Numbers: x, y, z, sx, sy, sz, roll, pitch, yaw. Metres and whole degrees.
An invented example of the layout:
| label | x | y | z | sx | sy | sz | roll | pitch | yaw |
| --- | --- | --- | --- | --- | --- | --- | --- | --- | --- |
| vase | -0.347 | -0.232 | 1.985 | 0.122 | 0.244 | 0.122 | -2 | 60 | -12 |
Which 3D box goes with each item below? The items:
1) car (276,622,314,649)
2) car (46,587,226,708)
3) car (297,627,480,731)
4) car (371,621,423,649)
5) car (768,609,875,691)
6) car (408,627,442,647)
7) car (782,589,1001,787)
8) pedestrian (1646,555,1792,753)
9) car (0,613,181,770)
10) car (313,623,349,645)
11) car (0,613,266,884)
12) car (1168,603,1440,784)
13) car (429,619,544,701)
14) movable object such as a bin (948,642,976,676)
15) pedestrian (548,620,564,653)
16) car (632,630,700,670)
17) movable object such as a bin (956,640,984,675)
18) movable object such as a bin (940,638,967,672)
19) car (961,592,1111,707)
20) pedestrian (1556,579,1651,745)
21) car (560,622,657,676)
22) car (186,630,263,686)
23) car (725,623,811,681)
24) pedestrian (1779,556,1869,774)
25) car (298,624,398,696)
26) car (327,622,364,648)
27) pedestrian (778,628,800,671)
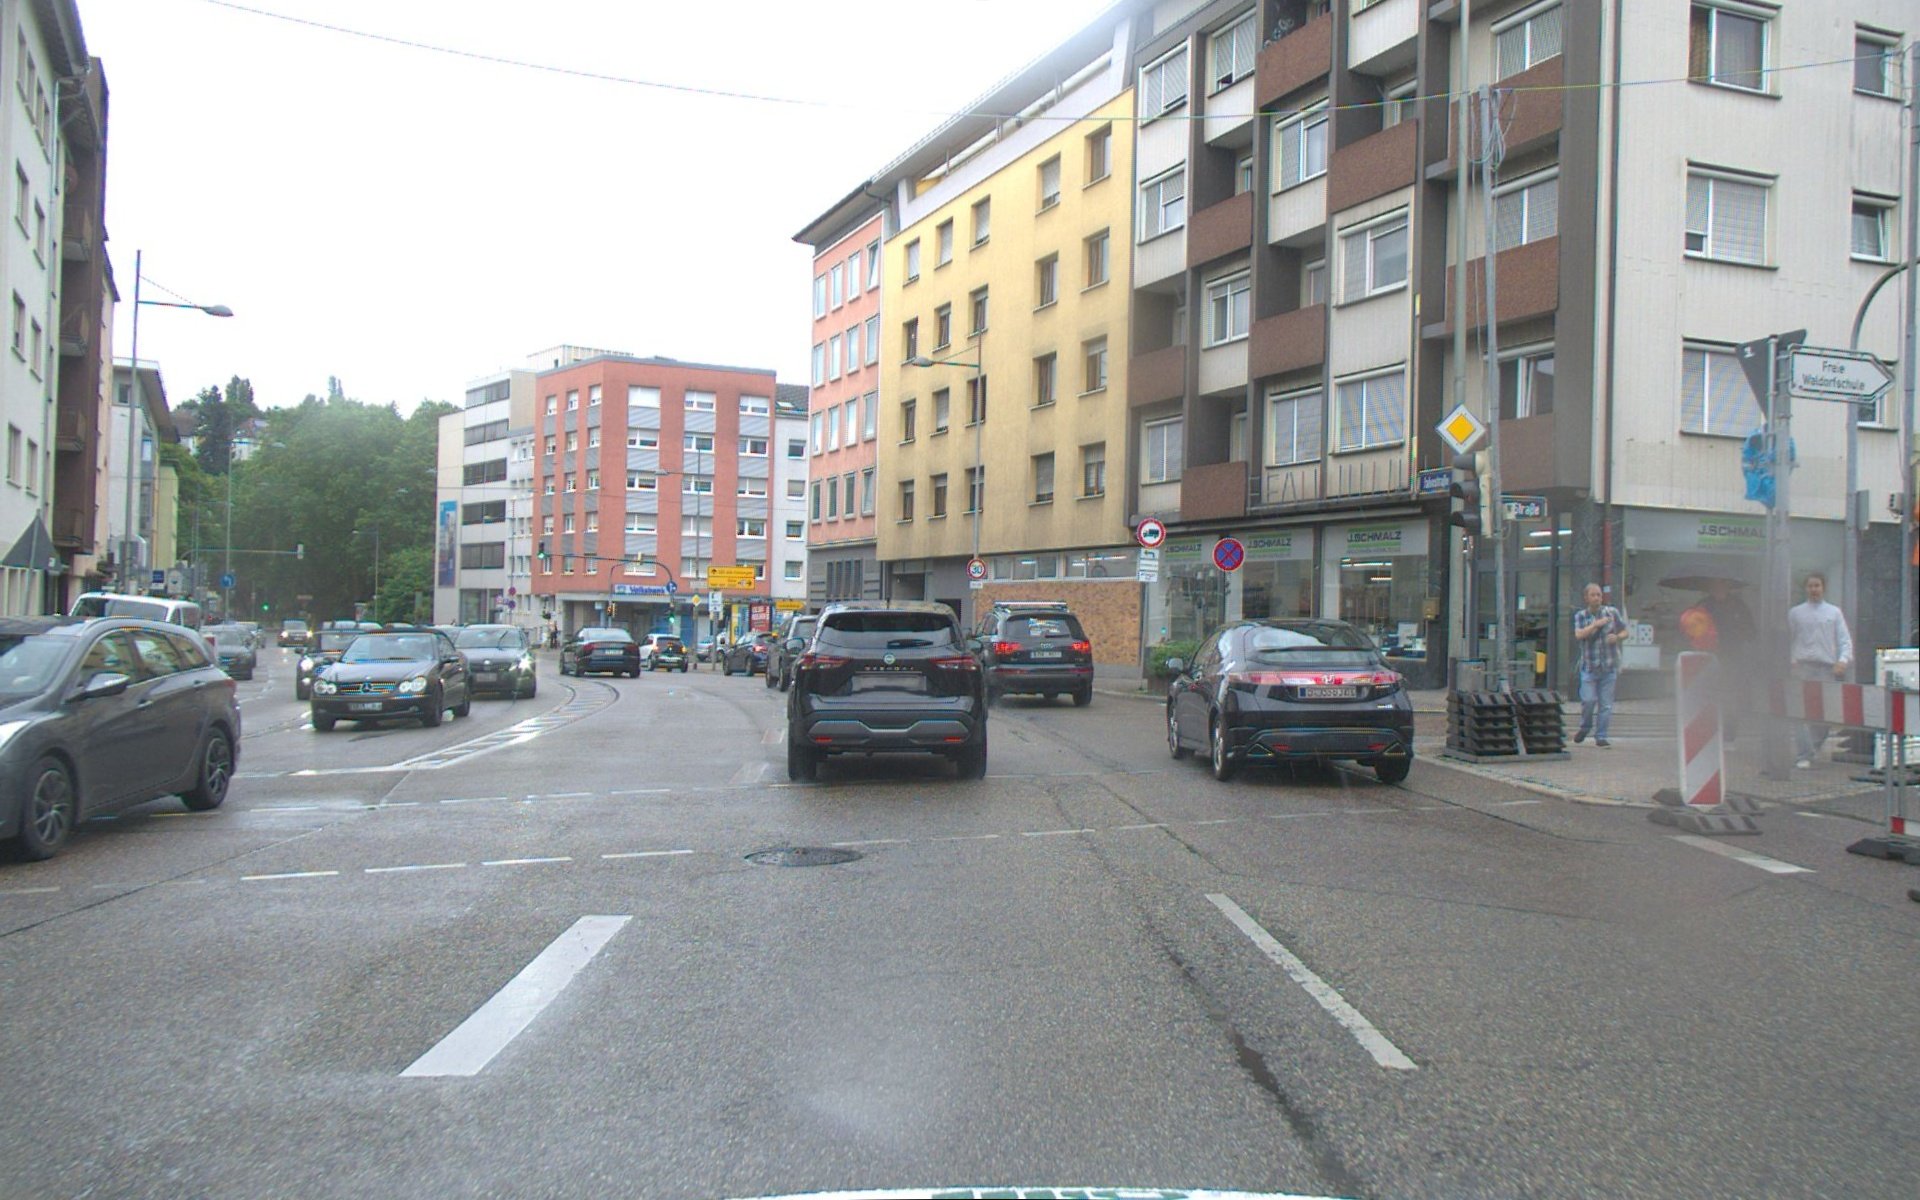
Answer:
| label | x | y | z | sx | sy | sz | roll | pitch | yaw |
| --- | --- | --- | --- | --- | --- | --- | --- | --- | --- |
| car | -42.743 | 2.303 | 106.246 | 1.841 | 1.676 | 4.214 | 0 | -1 | -28 |
| car | -15.763 | 0.949 | 31.941 | 2.084 | 2.050 | 5.105 | 4 | -3 | -16 |
| car | -8.415 | 1.122 | 24.734 | 1.791 | 1.390 | 4.593 | -1 | -1 | -9 |
| car | -32.574 | 2.027 | 95.630 | 1.840 | 1.580 | 4.175 | 1 | -2 | -34 |
| car | -3.177 | 1.095 | 37.311 | 1.911 | 1.714 | 3.988 | -1 | -1 | -12 |
| car | -41.863 | 2.911 | 129.480 | 1.697 | 1.467 | 4.039 | -1 | 0 | -30 |
| car | -0.745 | 0.761 | 15.970 | 1.857 | 1.657 | 3.995 | 0 | -1 | -5 |
| pedestrian | 7.552 | 0.543 | 16.462 | 0.912 | 1.894 | 1.015 | 2 | -4 | -44 |
| car | -10.314 | 0.934 | 17.924 | 1.891 | 1.500 | 4.598 | -2 | -1 | -6 |
| car | -43.391 | 2.342 | 114.071 | 1.800 | 1.459 | 4.358 | 1 | -2 | -28 |
| car | -6.394 | 0.854 | 11.138 | 1.816 | 1.500 | 4.643 | 0 | -1 | -5 |
| car | 3.180 | 0.827 | 16.074 | 1.747 | 1.523 | 4.055 | 1 | -1 | -1 |
| car | -9.447 | 1.163 | 33.273 | 1.949 | 1.485 | 4.470 | -1 | -1 | -13 |
| movable object such as a bin | 0.057 | 1.892 | 52.939 | 0.672 | 1.096 | 0.663 | 1 | -2 | -24 |
| pedestrian | -27.237 | 2.458 | 111.447 | 0.815 | 2.196 | 0.763 | 3 | -2 | -26 |
| car | -12.524 | 2.100 | 70.237 | 1.967 | 1.512 | 3.971 | 3 | -2 | -23 |
| movable object such as a bin | 0.325 | 1.830 | 52.320 | 0.672 | 1.096 | 0.663 | 1 | -2 | -24 |
| movable object such as a bin | -0.215 | 1.778 | 53.566 | 0.672 | 1.096 | 0.663 | 1 | -2 | -24 |
| car | 1.291 | 0.873 | 30.392 | 1.982 | 1.902 | 4.892 | -1 | -1 | -6 |
| pedestrian | 6.817 | 0.661 | 17.565 | 0.775 | 1.718 | 0.822 | -1 | -3 | 12 |
| car | -10.439 | 1.423 | 48.896 | 1.966 | 1.412 | 4.468 | 3 | -2 | -23 |
| car | -21.295 | 1.647 | 47.805 | 1.859 | 1.503 | 4.936 | 0 | -1 | -26 |
| car | -6.597 | 1.744 | 56.483 | 1.919 | 1.848 | 3.972 | -1 | -1 | -22 |
| pedestrian | 7.916 | 0.597 | 15.140 | 0.643 | 1.912 | 0.992 | -2 | -3 | 29 |
| car | -13.027 | 1.242 | 35.365 | 1.694 | 1.424 | 3.579 | -1 | -1 | -16 |
| car | -39.590 | 2.244 | 106.462 | 1.799 | 1.637 | 4.392 | 1 | -2 | -26 |
| pedestrian | -7.391 | 2.152 | 71.588 | 0.663 | 1.819 | 1.088 | 2 | -2 | -21 |
